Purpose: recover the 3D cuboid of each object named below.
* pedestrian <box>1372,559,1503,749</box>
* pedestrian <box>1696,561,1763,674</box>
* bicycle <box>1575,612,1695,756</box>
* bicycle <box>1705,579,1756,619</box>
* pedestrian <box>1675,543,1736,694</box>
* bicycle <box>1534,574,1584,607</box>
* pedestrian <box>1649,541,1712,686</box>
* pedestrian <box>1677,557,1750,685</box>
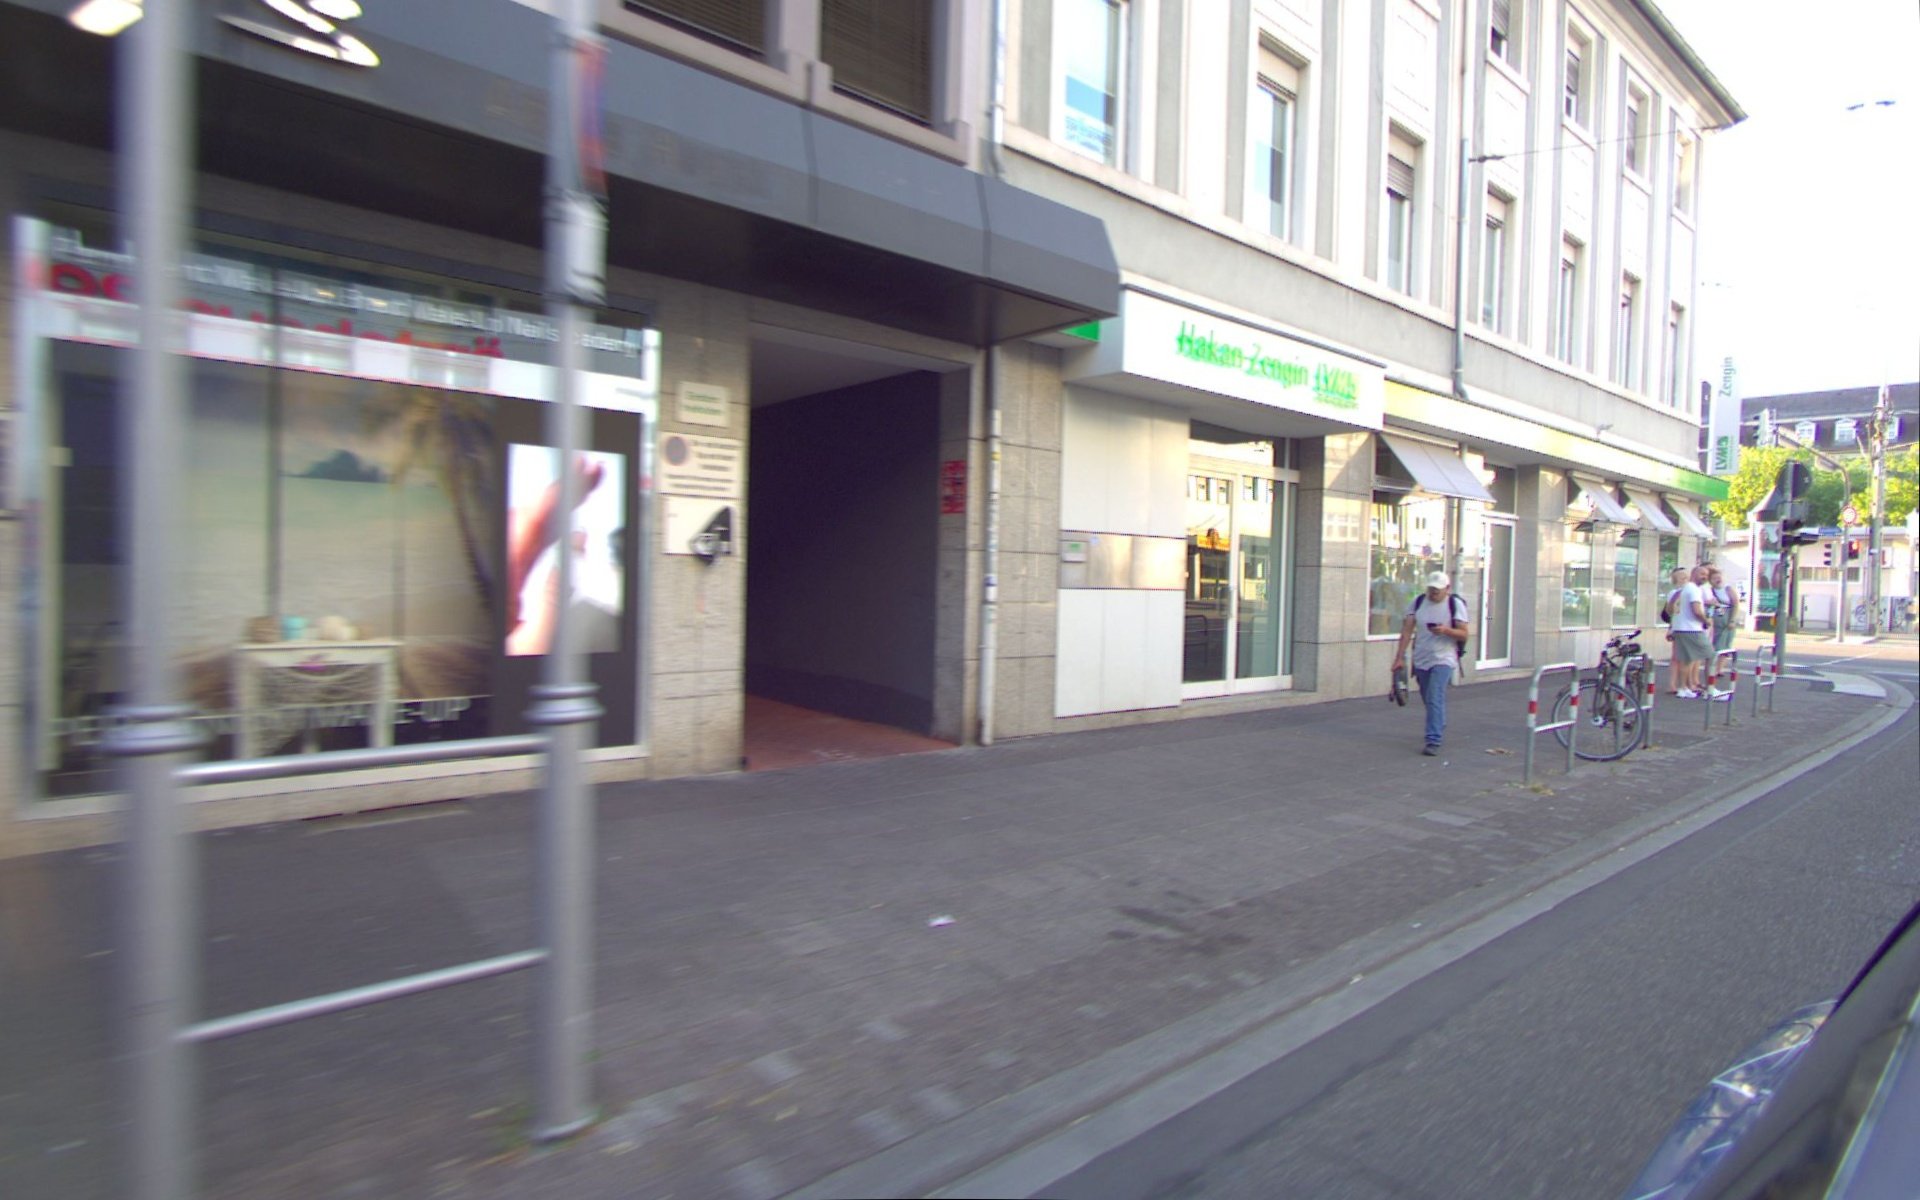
[{"bbox_3d":[4.199,0.434,8.901,0.854,1.567,0.699,0,2,-38],"label":"pedestrian"},{"bbox_3d":[12.671,0.268,16.670,0.635,1.800,0.672,0,2,-37],"label":"pedestrian"},{"bbox_3d":[5.986,0.696,8.947,1.620,1.103,0.478,-1,4,-43],"label":"bicycle"},{"bbox_3d":[30.737,-0.050,40.376,1.950,1.541,0.480,1,1,-15],"label":"bicycle"},{"bbox_3d":[9.893,0.227,13.435,0.573,1.952,0.489,2,2,40],"label":"pedestrian"},{"bbox_3d":[28.747,-0.441,48.588,2.183,1.541,0.682,1,1,-14],"label":"bicycle"},{"bbox_3d":[9.988,0.174,14.025,0.637,1.952,0.522,2,2,39],"label":"pedestrian"},{"bbox_3d":[10.794,0.281,14.498,0.686,1.767,0.640,0,2,-38],"label":"pedestrian"}]
